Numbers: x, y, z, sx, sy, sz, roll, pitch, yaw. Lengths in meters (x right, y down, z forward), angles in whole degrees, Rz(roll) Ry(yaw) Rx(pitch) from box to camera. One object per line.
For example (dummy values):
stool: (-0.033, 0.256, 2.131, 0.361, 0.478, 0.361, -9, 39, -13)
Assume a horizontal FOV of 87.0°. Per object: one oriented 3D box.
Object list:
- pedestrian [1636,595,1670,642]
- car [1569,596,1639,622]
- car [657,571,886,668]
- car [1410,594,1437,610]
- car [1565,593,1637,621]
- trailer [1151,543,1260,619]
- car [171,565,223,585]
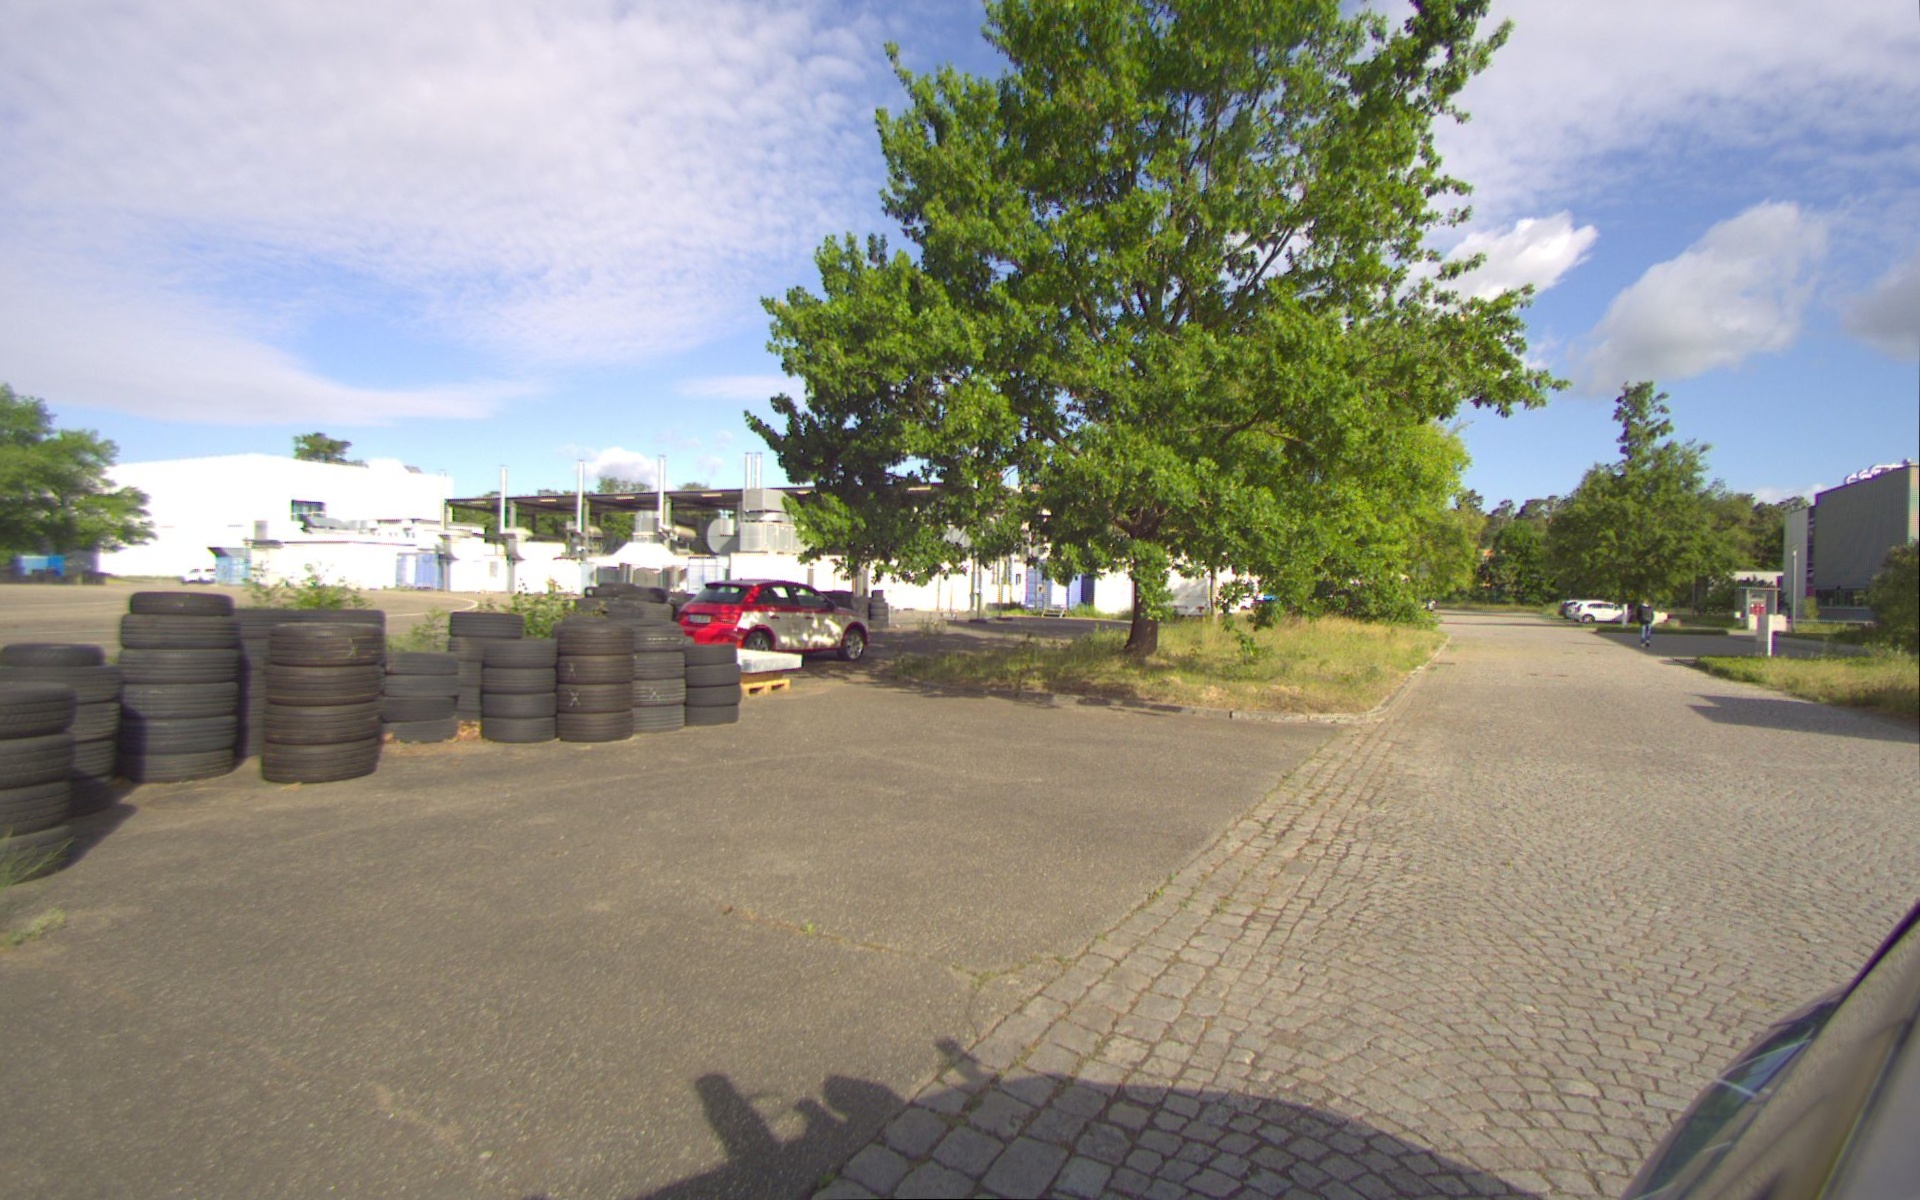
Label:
pedestrian: (24.000, 0.623, 35.047, 0.863, 1.578, 1.013, 1, 0, 39)
car: (44.043, 0.582, 69.242, 3.972, 1.663, 1.976, 2, 1, 34)
car: (-3.217, 0.295, 17.953, 1.716, 1.482, 3.951, 2, 1, 34)
car: (43.016, 0.179, 94.018, 1.976, 1.388, 3.971, 1, 1, 21)
car: (42.440, 0.435, 67.041, 3.972, 1.663, 1.976, 2, 1, 34)
trailer: (12.824, -0.925, 52.107, 2.901, 3.514, 9.798, 1, 1, 29)
car: (-67.013, -2.197, 88.908, 4.502, 1.584, 1.858, 2, 1, 26)
